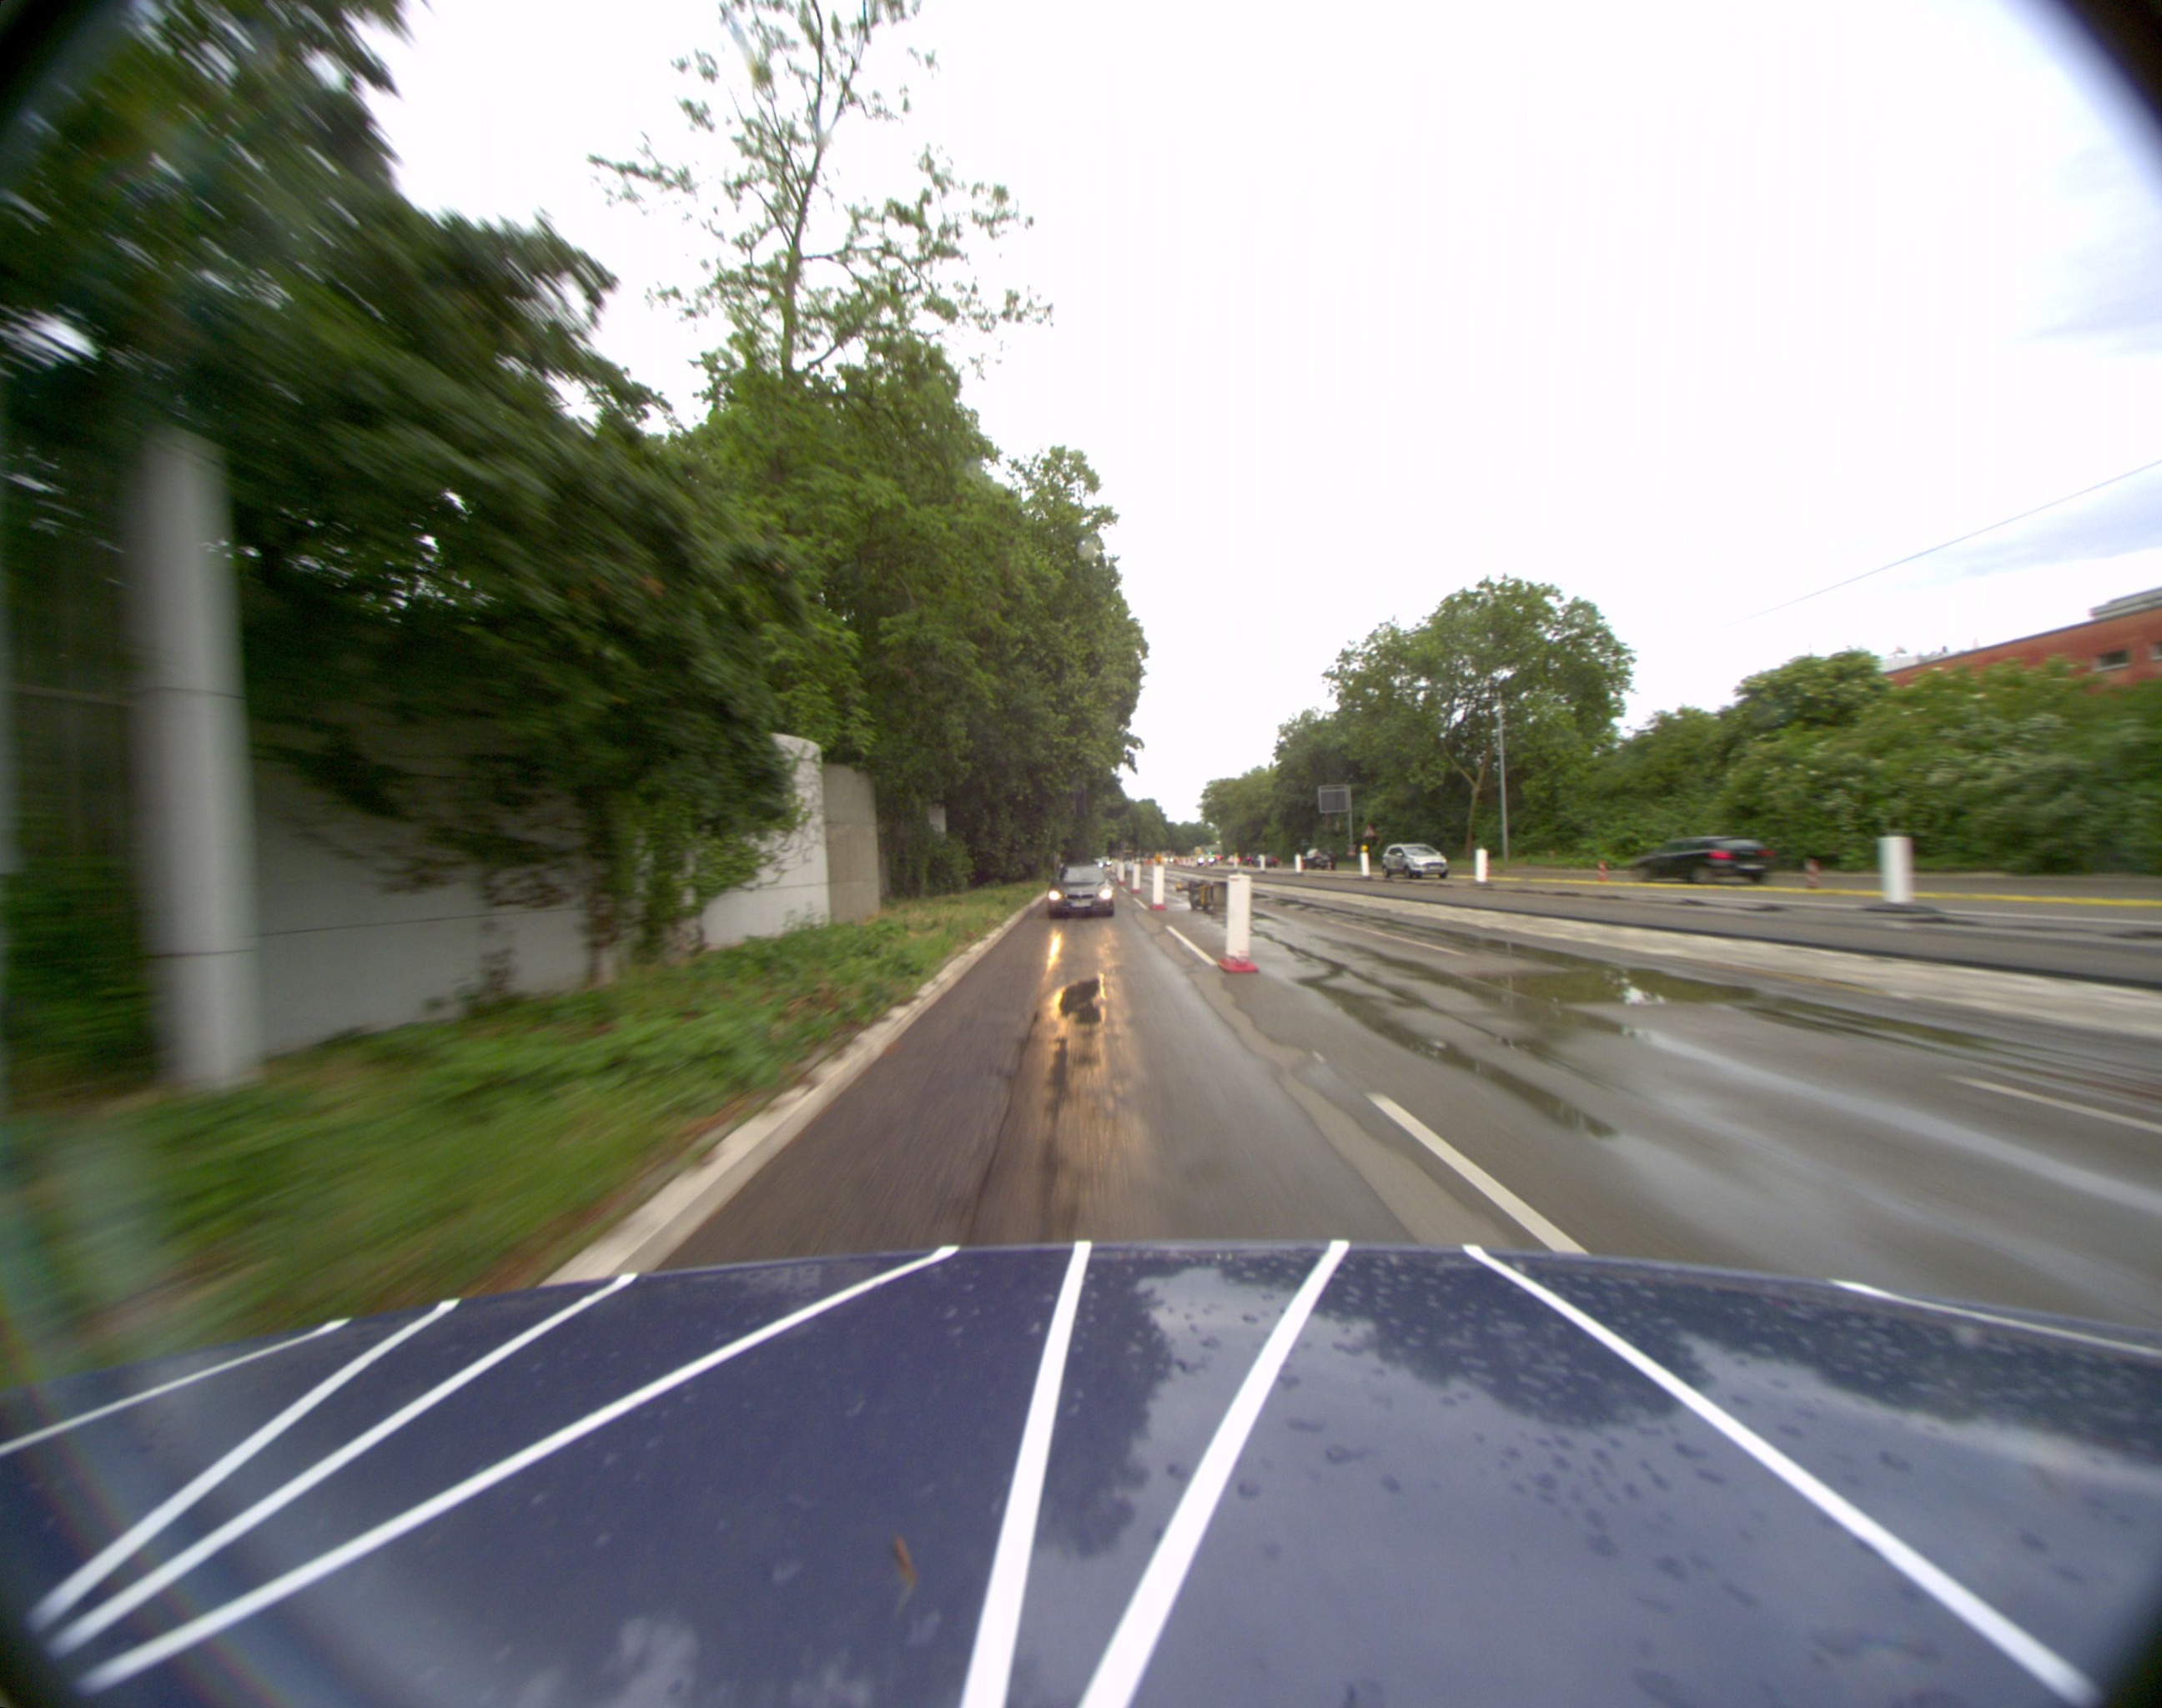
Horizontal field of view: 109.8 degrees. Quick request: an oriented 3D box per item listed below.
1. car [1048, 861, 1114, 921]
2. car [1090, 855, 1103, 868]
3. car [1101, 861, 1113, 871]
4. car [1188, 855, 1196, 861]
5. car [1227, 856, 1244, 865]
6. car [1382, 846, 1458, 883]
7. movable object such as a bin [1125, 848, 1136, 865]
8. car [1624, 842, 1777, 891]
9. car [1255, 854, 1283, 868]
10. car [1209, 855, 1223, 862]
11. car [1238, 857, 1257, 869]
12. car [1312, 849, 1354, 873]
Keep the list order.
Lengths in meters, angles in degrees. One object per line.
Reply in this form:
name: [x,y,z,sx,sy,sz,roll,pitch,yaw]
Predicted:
car: [0.008,0.973,21.594,1.701,1.477,4.000,-1,0,0]
car: [2.125,0.940,102.450,1.707,1.681,4.472,0,0,2]
car: [4.607,2.156,134.020,1.707,1.681,4.473,0,0,5]
car: [33.709,1.163,231.300,1.781,1.653,4.916,0,0,2]
car: [25.267,1.007,124.610,1.822,1.411,4.603,-2,0,1]
car: [15.401,0.465,34.742,1.794,1.574,3.861,-2,0,1]
movable object such as a bin: [9.046,0.466,138.588,1.807,2.968,5.248,-1,0,6]
car: [18.782,0.359,23.270,1.452,1.324,3.860,-2,0,-2]
car: [20.344,0.759,82.541,1.765,1.475,4.900,-2,0,0]
car: [24.190,0.805,135.862,1.822,1.347,4.205,0,0,1]
car: [23.369,1.232,106.542,1.657,1.675,4.533,-2,0,1]
car: [19.231,0.514,58.137,1.739,1.712,4.494,-2,0,0]
